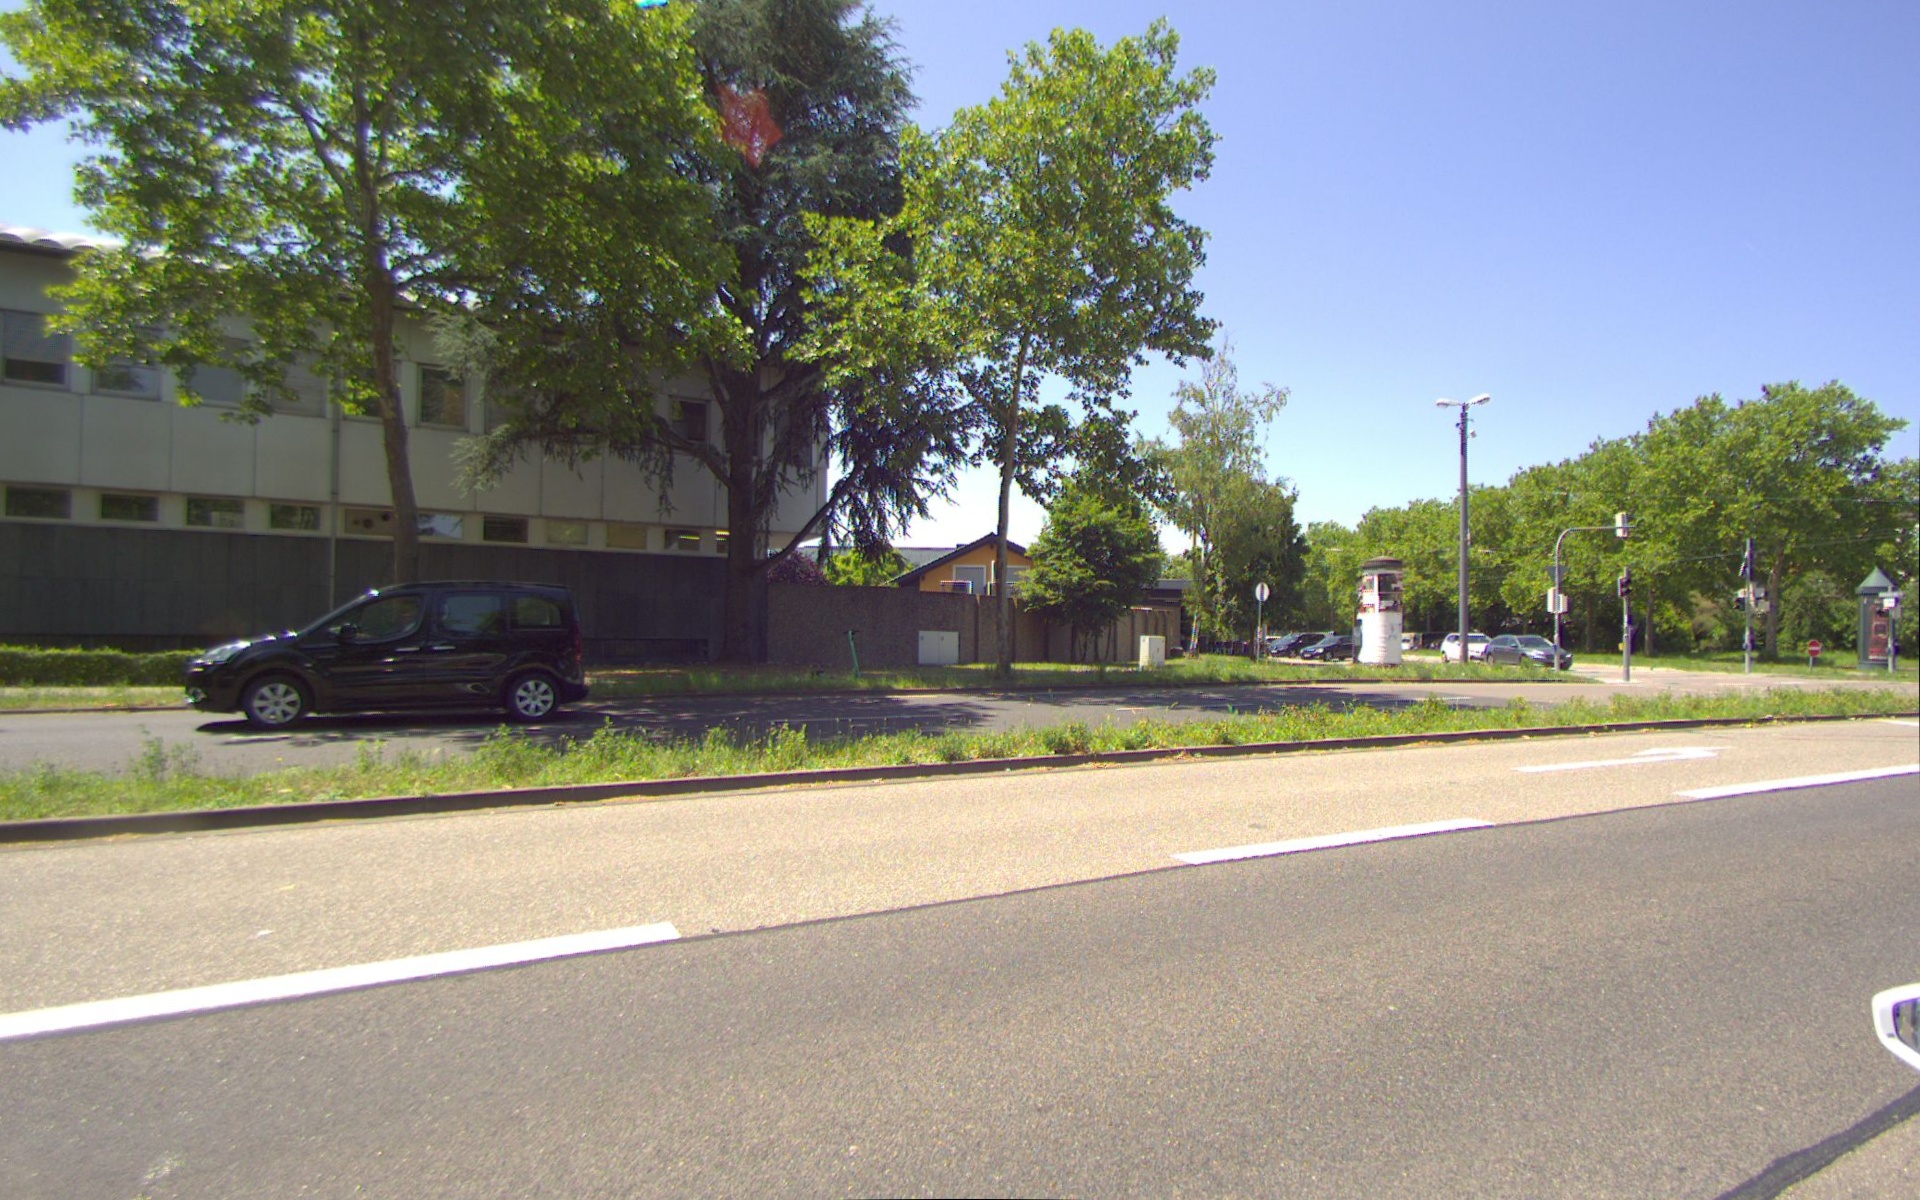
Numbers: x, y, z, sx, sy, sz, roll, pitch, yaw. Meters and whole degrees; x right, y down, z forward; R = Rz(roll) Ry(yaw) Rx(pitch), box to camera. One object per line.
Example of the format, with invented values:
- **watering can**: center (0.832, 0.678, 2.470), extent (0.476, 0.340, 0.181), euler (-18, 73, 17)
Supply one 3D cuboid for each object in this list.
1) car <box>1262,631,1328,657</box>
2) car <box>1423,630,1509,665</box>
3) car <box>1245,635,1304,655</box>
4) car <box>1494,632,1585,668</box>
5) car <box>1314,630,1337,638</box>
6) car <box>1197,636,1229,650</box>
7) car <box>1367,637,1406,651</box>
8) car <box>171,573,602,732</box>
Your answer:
- **car**: center (22.233, 2.934, 66.624), extent (4.139, 1.672, 1.772), euler (2, -2, -26)
- **car**: center (25.221, 2.350, 50.239), extent (2.172, 1.626, 4.463), euler (1, -1, 2)
- **car**: center (23.814, 3.419, 75.967), extent (4.005, 1.442, 1.936), euler (2, -2, -24)
- **car**: center (24.932, 2.122, 43.371), extent (1.729, 1.476, 3.994), euler (1, -1, 2)
- **car**: center (49.154, 4.583, 135.180), extent (2.667, 1.007, 1.009), euler (1, -1, -1)
- **car**: center (22.546, 3.836, 89.389), extent (2.849, 1.221, 1.176), euler (1, -1, -35)
- **car**: center (45.346, 4.687, 106.794), extent (3.481, 1.415, 1.500), euler (1, -1, -2)
- **car**: center (-6.985, 0.623, 12.699), extent (4.389, 1.701, 1.903), euler (1, -1, -29)
